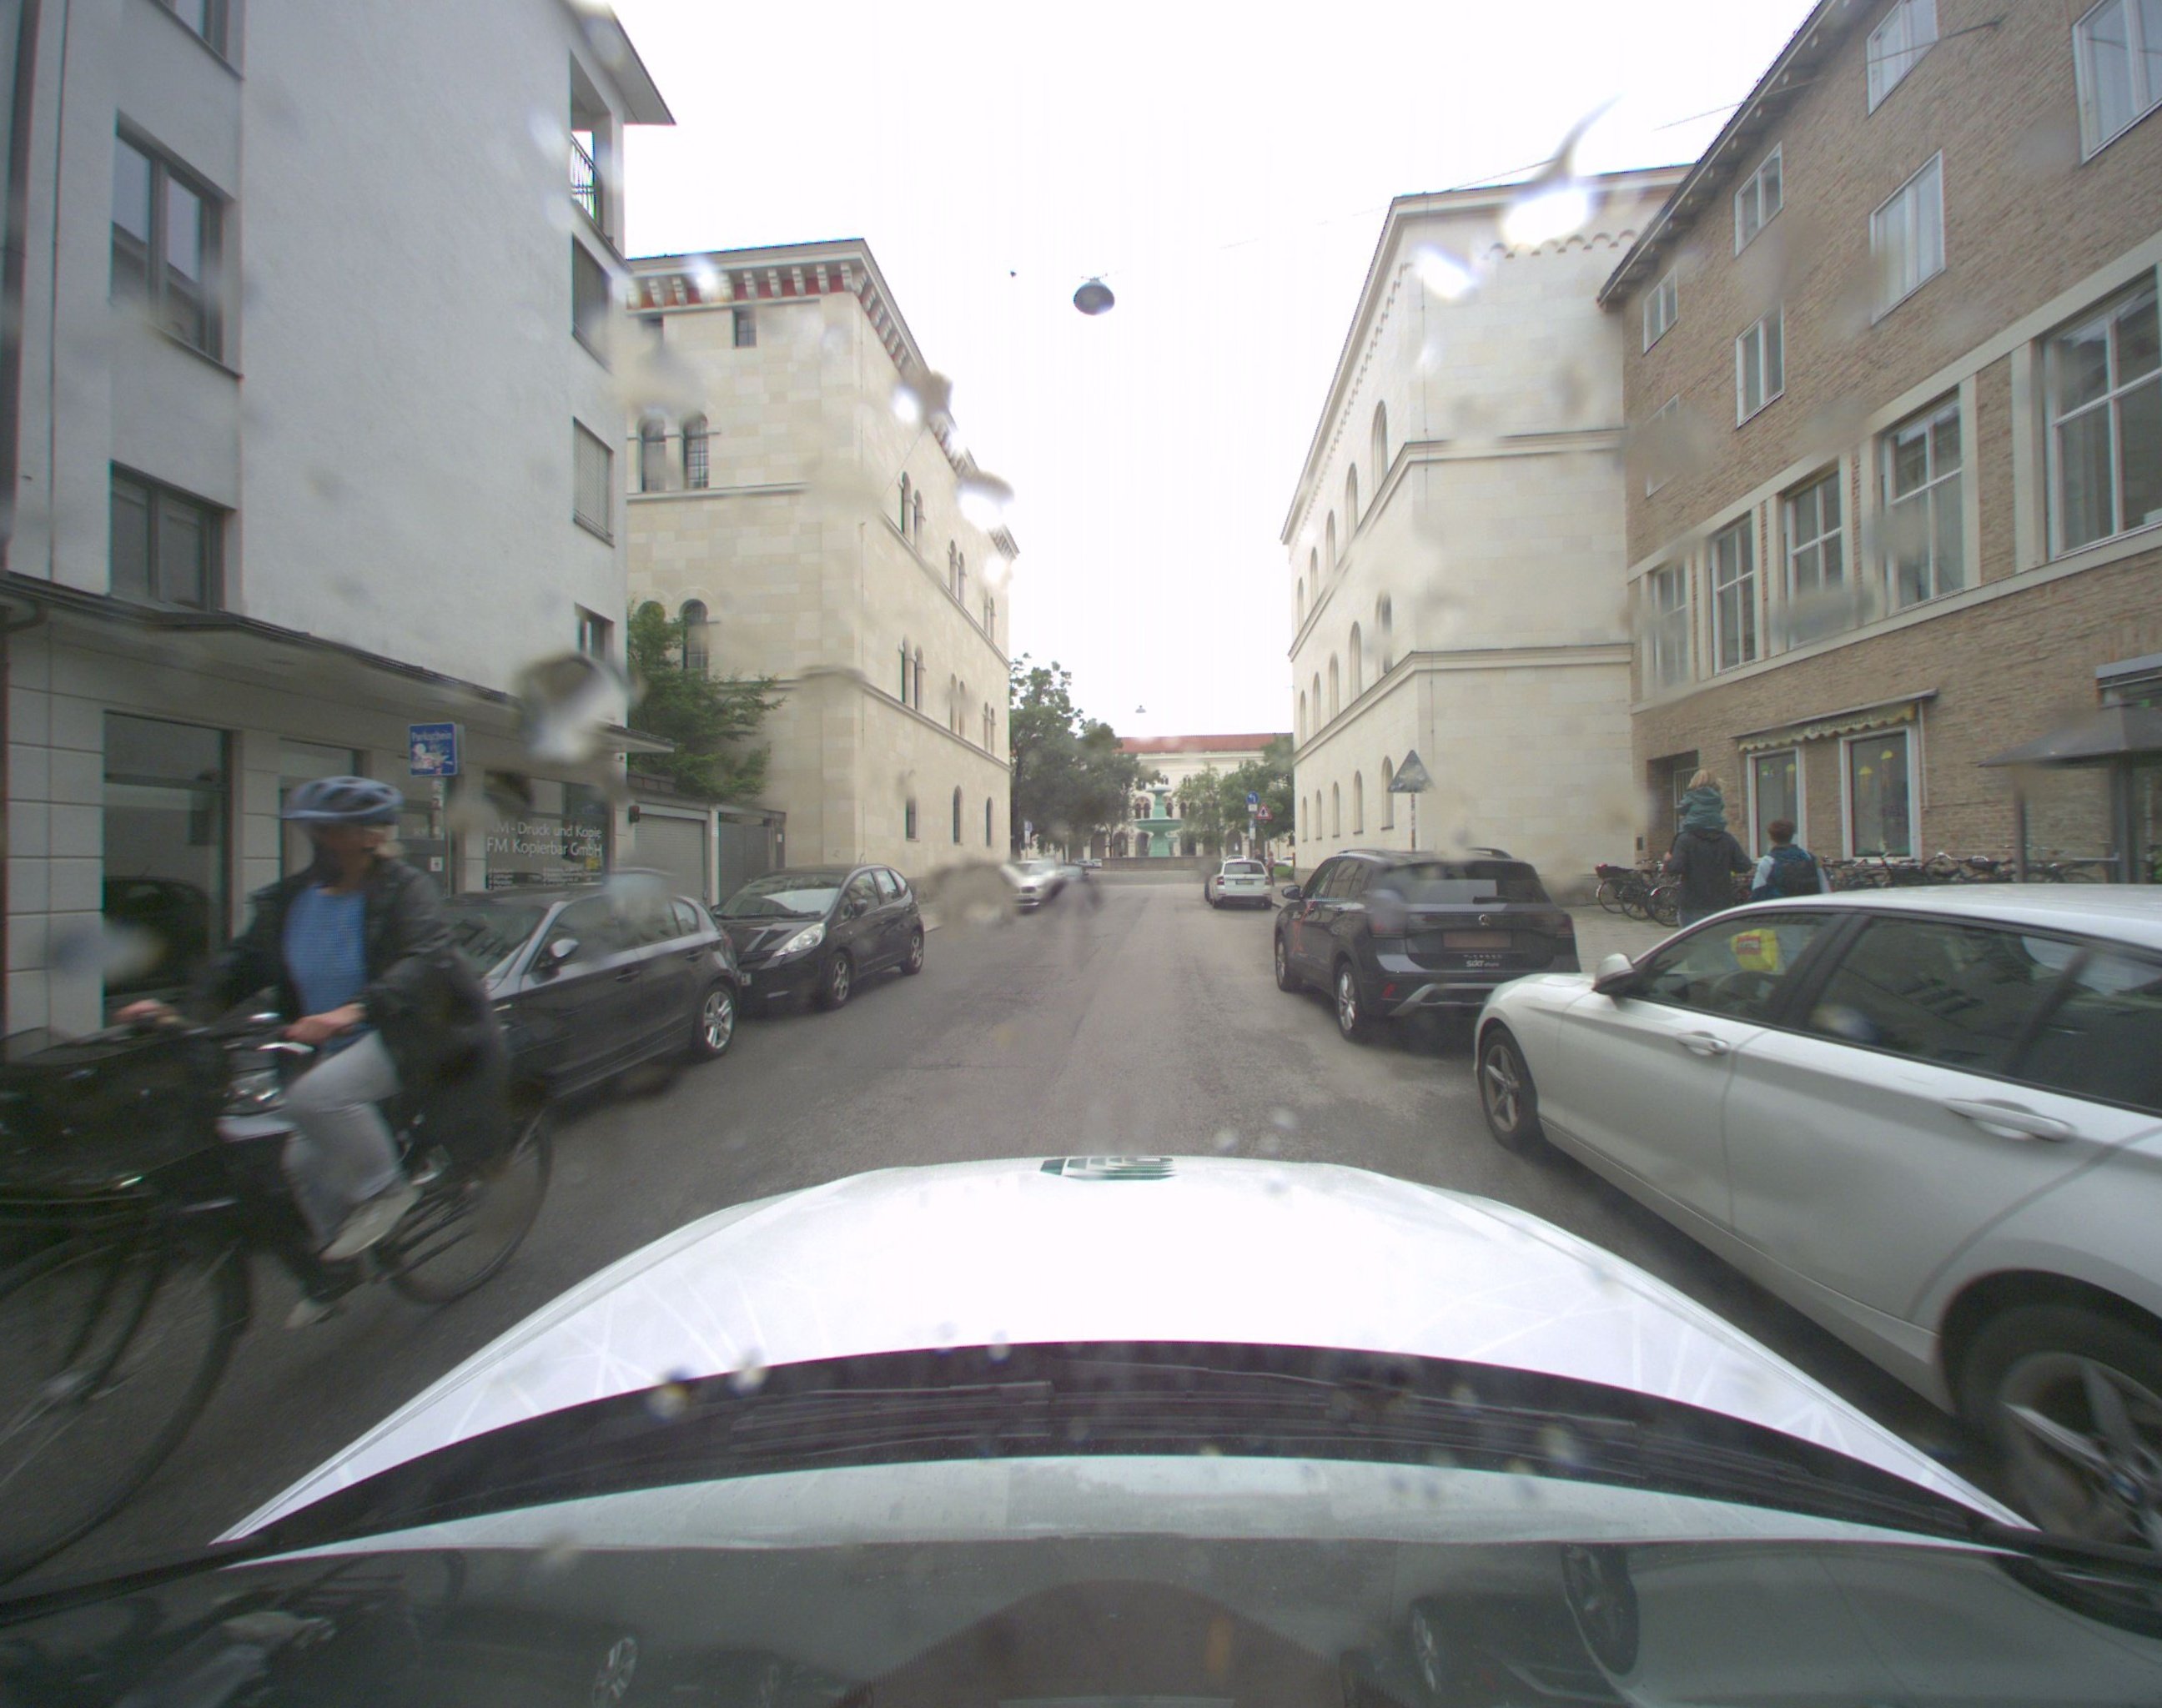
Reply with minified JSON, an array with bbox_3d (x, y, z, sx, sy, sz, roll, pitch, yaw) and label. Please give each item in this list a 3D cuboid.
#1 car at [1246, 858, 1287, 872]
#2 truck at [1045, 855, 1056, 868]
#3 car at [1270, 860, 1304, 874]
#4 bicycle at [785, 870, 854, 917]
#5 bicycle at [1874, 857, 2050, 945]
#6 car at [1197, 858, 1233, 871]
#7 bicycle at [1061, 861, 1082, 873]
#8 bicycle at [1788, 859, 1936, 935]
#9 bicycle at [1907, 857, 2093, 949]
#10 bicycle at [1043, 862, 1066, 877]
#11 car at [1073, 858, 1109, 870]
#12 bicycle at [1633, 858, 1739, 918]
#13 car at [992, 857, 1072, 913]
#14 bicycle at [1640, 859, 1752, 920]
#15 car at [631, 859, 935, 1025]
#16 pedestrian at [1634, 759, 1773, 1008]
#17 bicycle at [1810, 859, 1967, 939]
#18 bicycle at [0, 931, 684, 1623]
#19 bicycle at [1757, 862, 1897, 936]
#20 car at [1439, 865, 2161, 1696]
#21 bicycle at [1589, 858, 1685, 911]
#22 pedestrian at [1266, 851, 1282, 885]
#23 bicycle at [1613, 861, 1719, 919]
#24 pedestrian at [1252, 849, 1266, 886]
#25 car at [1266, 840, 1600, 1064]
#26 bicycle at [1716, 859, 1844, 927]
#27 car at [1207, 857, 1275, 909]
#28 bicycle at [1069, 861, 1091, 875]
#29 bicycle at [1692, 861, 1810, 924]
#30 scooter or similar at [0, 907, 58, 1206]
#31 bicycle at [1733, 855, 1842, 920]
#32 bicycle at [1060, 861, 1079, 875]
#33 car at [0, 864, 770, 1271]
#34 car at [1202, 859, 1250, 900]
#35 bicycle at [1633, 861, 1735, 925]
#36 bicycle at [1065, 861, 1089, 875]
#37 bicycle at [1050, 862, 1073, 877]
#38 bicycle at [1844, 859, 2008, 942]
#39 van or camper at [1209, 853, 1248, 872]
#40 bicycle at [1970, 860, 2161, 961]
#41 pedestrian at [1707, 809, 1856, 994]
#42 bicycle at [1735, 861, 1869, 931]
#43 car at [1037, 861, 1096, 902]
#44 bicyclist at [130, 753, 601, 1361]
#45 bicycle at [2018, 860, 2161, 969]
[{"bbox_3d":[20.947,1.254,91.899,4.333,1.524,1.807,-1,0,7],"label":"car"},{"bbox_3d":[-5.628,1.349,149.438,1.990,2.489,3.993,0,0,-5],"label":"truck"},{"bbox_3d":[27.663,1.743,109.477,4.080,1.741,1.748,0,0,2],"label":"car"},{"bbox_3d":[-6.734,1.018,20.974,1.699,1.178,0.478,-1,-1,15],"label":"bicycle"},{"bbox_3d":[11.074,0.592,10.267,1.620,1.042,0.349,-2,-1,8],"label":"bicycle"},{"bbox_3d":[15.193,1.188,92.498,3.964,1.403,1.829,-1,0,8],"label":"car"},{"bbox_3d":[-0.779,1.060,66.183,1.523,1.019,0.701,0,0,17],"label":"bicycle"},{"bbox_3d":[11.235,0.620,11.745,1.620,1.042,0.349,-2,-1,8],"label":"bicycle"},{"bbox_3d":[11.021,0.581,9.794,1.620,1.042,0.349,-2,-1,8],"label":"bicycle"},{"bbox_3d":[-1.961,1.141,60.366,1.606,1.035,0.701,0,0,17],"label":"bicycle"},{"bbox_3d":[1.179,1.156,93.891,3.968,1.376,2.003,-1,0,4],"label":"car"},{"bbox_3d":[11.677,0.660,15.746,1.620,1.094,0.349,-2,-1,10],"label":"bicycle"},{"bbox_3d":[-1.415,0.909,25.130,1.769,1.535,4.217,-2,-1,5],"label":"car"},{"bbox_3d":[11.185,0.647,14.840,1.620,1.042,0.349,-2,-1,10],"label":"bicycle"},{"bbox_3d":[-3.208,0.857,9.751,1.741,1.453,4.023,-2,0,6],"label":"car"},{"bbox_3d":[5.819,0.259,7.671,0.787,2.197,0.817,0,0,16],"label":"pedestrian"},{"bbox_3d":[11.154,0.623,11.278,1.620,1.042,0.349,-2,-1,8],"label":"bicycle"},{"bbox_3d":[-2.132,0.938,2.608,0.646,1.197,1.952,-1,0,3],"label":"bicycle"},{"bbox_3d":[11.216,0.676,12.271,1.620,1.042,0.349,-2,-1,8],"label":"bicycle"},{"bbox_3d":[2.845,0.771,2.812,1.666,1.417,4.206,0,0,5],"label":"car"},{"bbox_3d":[11.506,0.630,16.887,1.620,1.042,0.349,-2,-1,10],"label":"bicycle"},{"bbox_3d":[9.510,0.683,40.140,0.618,1.681,0.545,1,0,0],"label":"pedestrian"},{"bbox_3d":[11.072,0.674,15.434,1.620,1.042,0.349,-2,-1,10],"label":"bicycle"},{"bbox_3d":[8.732,0.644,39.883,0.637,1.808,0.490,-1,0,11],"label":"pedestrian"},{"bbox_3d":[2.956,0.708,7.810,1.739,1.594,3.960,0,0,4],"label":"car"},{"bbox_3d":[11.343,0.637,13.247,1.620,1.042,0.349,-2,-1,8],"label":"bicycle"},{"bbox_3d":[4.910,0.836,25.407,1.780,1.476,4.321,0,0,7],"label":"car"},{"bbox_3d":[-0.072,1.129,64.201,1.606,1.099,0.619,0,0,17],"label":"bicycle"},{"bbox_3d":[11.726,0.665,14.278,1.620,1.042,0.349,-2,-1,8],"label":"bicycle"},{"bbox_3d":[-5.264,0.941,3.448,0.223,1.355,1.126,-2,0,31],"label":"scooter or similar"},{"bbox_3d":[11.863,0.561,13.692,1.422,1.042,0.349,-2,-1,4],"label":"bicycle"},{"bbox_3d":[-0.920,1.136,65.418,1.390,1.099,0.659,0,0,17],"label":"bicycle"},{"bbox_3d":[-3.764,0.867,5.162,1.743,1.453,4.020,-2,0,4],"label":"car"},{"bbox_3d":[5.304,0.912,30.120,1.532,1.426,3.779,-1,-1,7],"label":"car"},{"bbox_3d":[10.371,0.674,14.022,1.422,1.042,0.349,-2,-1,4],"label":"bicycle"},{"bbox_3d":[-0.289,1.092,63.495,1.696,1.099,0.701,0,0,17],"label":"bicycle"},{"bbox_3d":[-1.505,1.160,61.863,1.606,1.099,0.701,0,0,17],"label":"bicycle"},{"bbox_3d":[11.196,0.617,10.818,1.620,1.042,0.349,-2,-1,8],"label":"bicycle"},{"bbox_3d":[18.648,1.085,103.133,4.560,2.014,2.002,-3,-2,3],"label":"van or camper"},{"bbox_3d":[10.883,0.611,9.007,1.623,1.042,0.348,-2,-1,2],"label":"bicycle"},{"bbox_3d":[6.781,0.436,7.936,0.851,1.693,0.755,-1,0,17],"label":"pedestrian"},{"bbox_3d":[11.296,0.661,12.784,1.620,1.042,0.349,-2,-1,8],"label":"bicycle"},{"bbox_3d":[-0.488,1.023,31.330,1.690,1.393,4.219,-2,-1,6],"label":"car"},{"bbox_3d":[-2.117,0.526,2.545,0.654,1.551,0.888,-1,-1,3],"label":"bicyclist"},{"bbox_3d":[10.595,0.603,8.301,1.624,1.042,0.348,-2,-1,1],"label":"bicycle"}]
